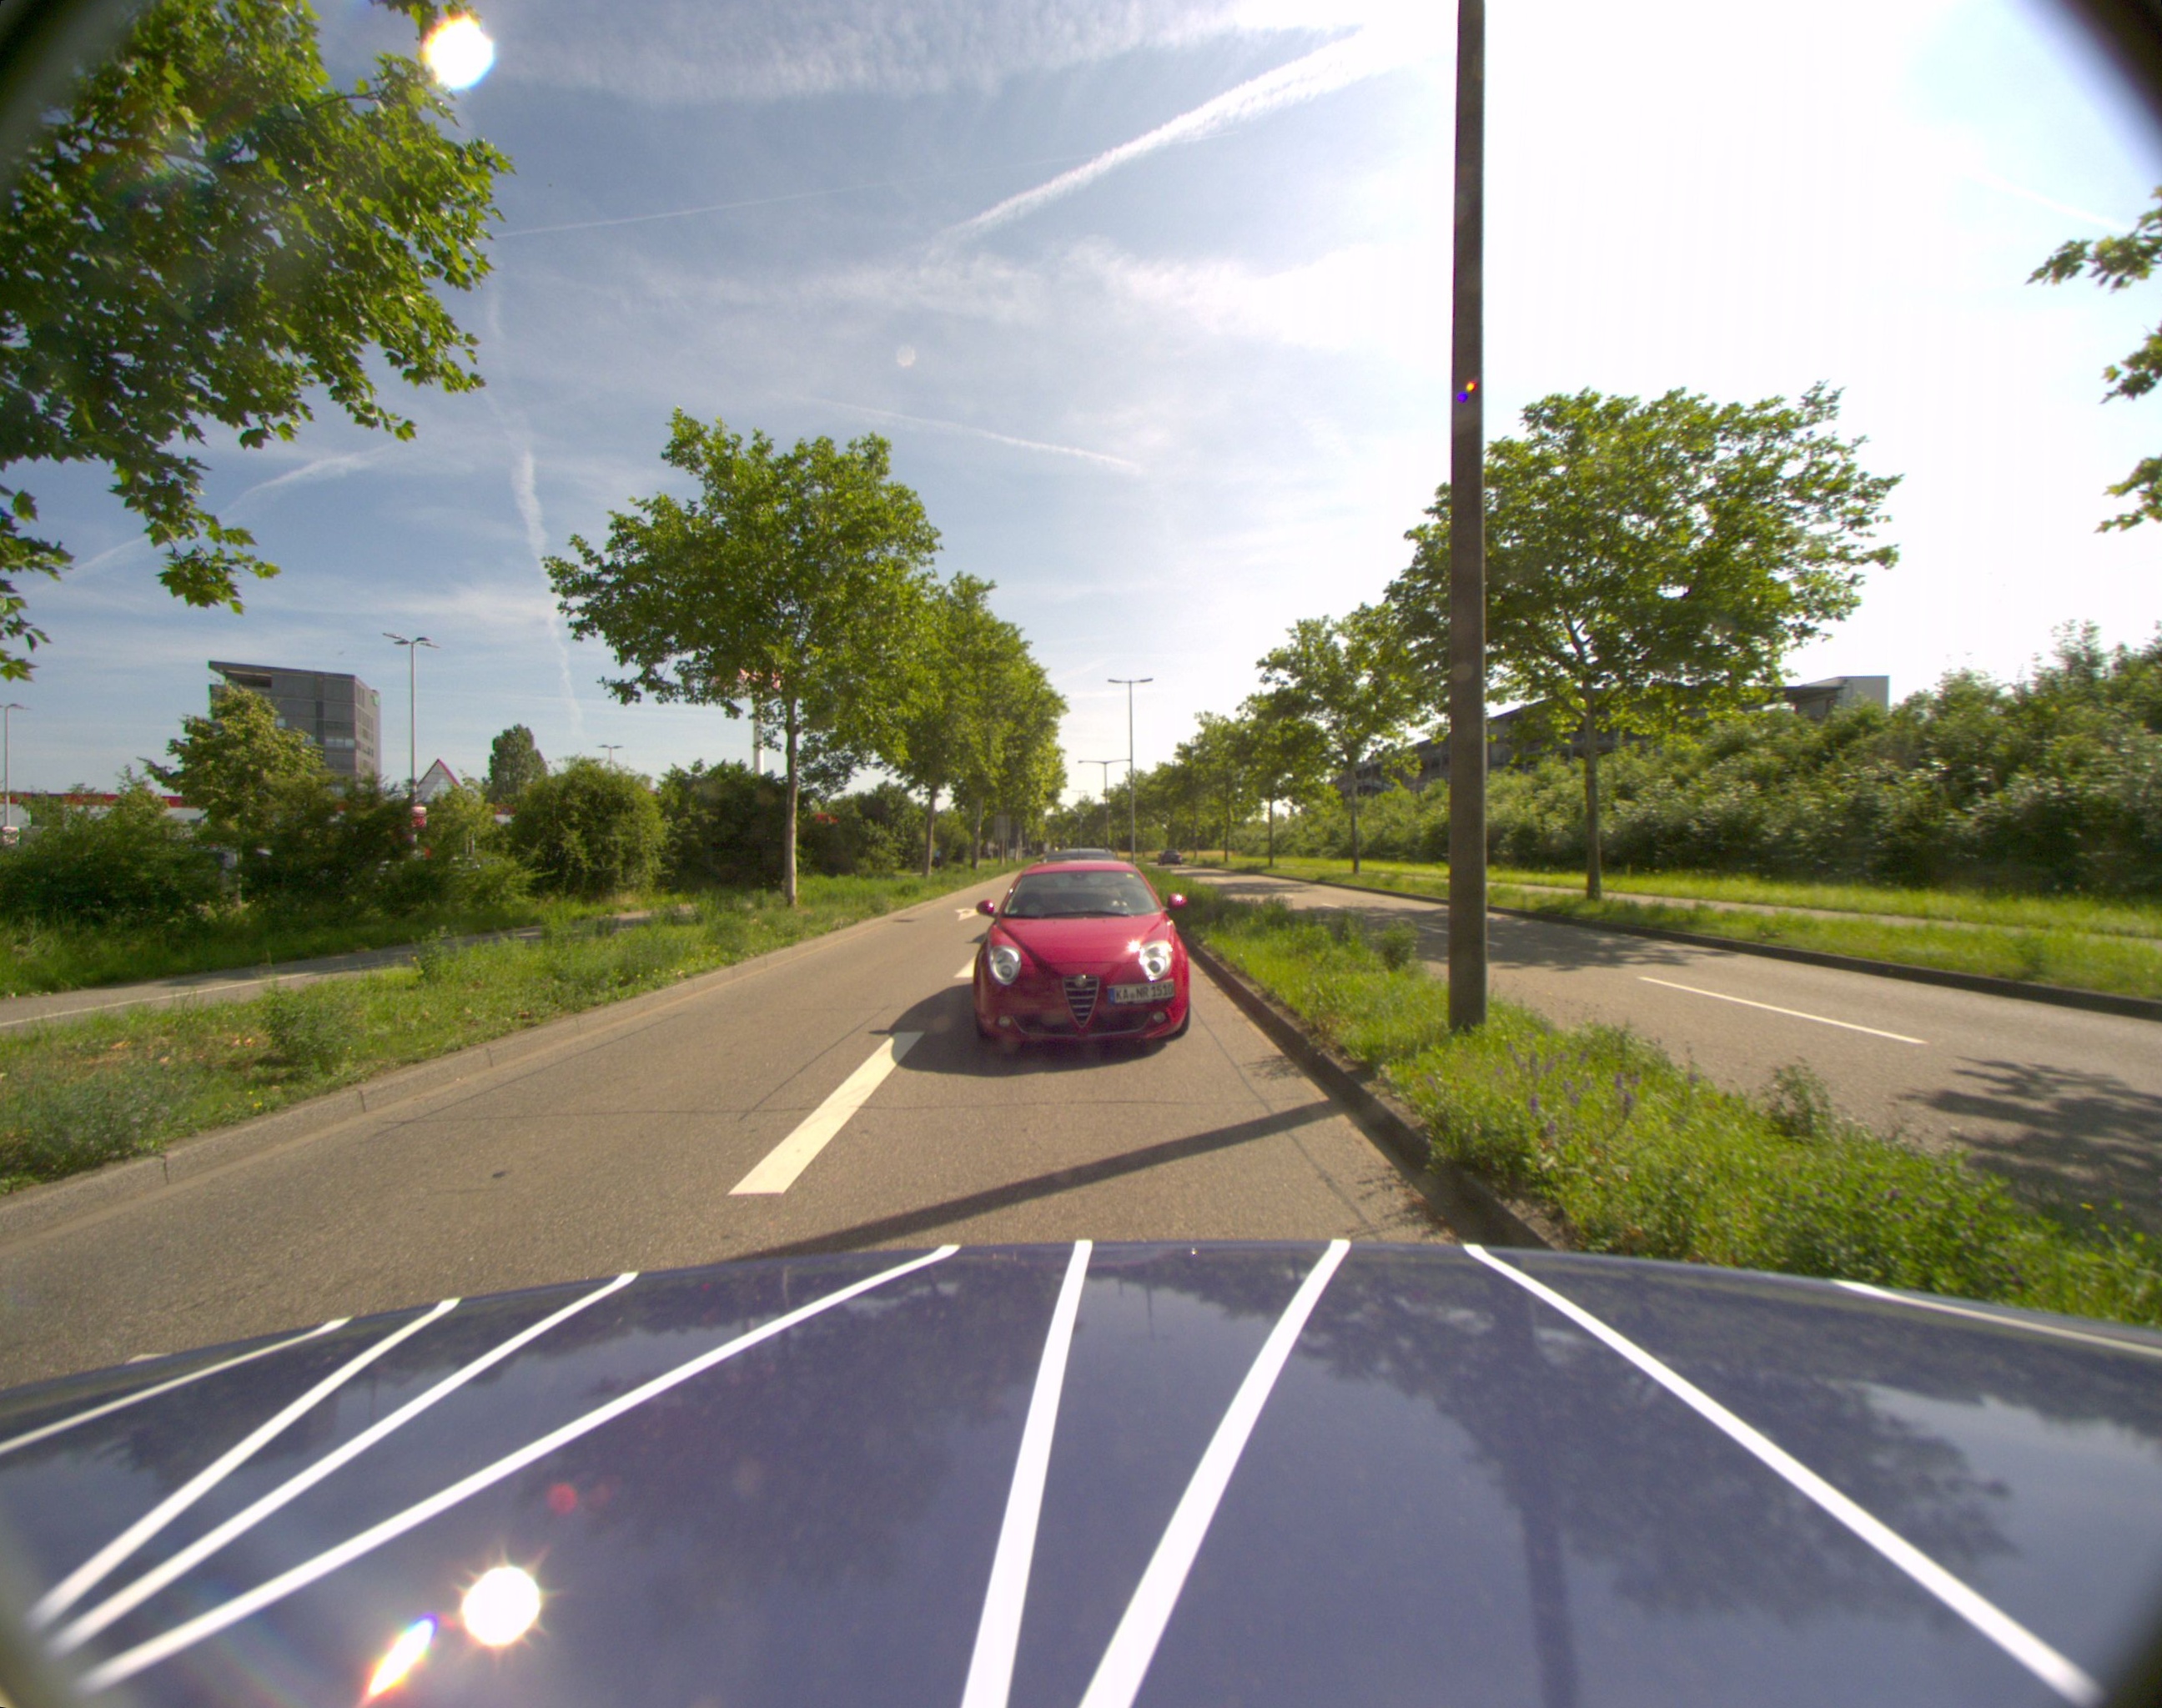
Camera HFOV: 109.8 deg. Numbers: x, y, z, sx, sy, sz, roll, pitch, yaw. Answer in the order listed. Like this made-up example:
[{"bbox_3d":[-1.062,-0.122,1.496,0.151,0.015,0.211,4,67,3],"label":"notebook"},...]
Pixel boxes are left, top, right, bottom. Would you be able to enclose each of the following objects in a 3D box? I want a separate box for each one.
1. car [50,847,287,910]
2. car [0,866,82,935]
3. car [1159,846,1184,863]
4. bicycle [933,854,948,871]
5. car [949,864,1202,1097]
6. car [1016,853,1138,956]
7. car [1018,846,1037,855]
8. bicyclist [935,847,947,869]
[{"bbox_3d":[-25.052,0.591,21.111,3.869,1.576,1.844,-1,1,-38],"label":"car"},{"bbox_3d":[-22.765,0.922,14.950,3.563,1.292,1.766,0,1,-6],"label":"car"},{"bbox_3d":[8.271,0.026,69.710,1.868,1.459,3.936,-1,1,0],"label":"car"},{"bbox_3d":[-10.638,0.657,57.560,0.687,1.230,1.934,0,1,1],"label":"bicycle"},{"bbox_3d":[-0.010,0.887,7.101,1.658,1.430,3.907,-2,1,1],"label":"car"},{"bbox_3d":[-0.029,0.781,13.857,1.874,1.536,4.081,-1,1,1],"label":"car"},{"bbox_3d":[-11.442,-0.792,162.861,2.003,2.002,4.686,-1,1,-32],"label":"car"},{"bbox_3d":[-10.639,0.279,57.591,0.687,1.622,1.002,0,1,1],"label":"bicyclist"}]
